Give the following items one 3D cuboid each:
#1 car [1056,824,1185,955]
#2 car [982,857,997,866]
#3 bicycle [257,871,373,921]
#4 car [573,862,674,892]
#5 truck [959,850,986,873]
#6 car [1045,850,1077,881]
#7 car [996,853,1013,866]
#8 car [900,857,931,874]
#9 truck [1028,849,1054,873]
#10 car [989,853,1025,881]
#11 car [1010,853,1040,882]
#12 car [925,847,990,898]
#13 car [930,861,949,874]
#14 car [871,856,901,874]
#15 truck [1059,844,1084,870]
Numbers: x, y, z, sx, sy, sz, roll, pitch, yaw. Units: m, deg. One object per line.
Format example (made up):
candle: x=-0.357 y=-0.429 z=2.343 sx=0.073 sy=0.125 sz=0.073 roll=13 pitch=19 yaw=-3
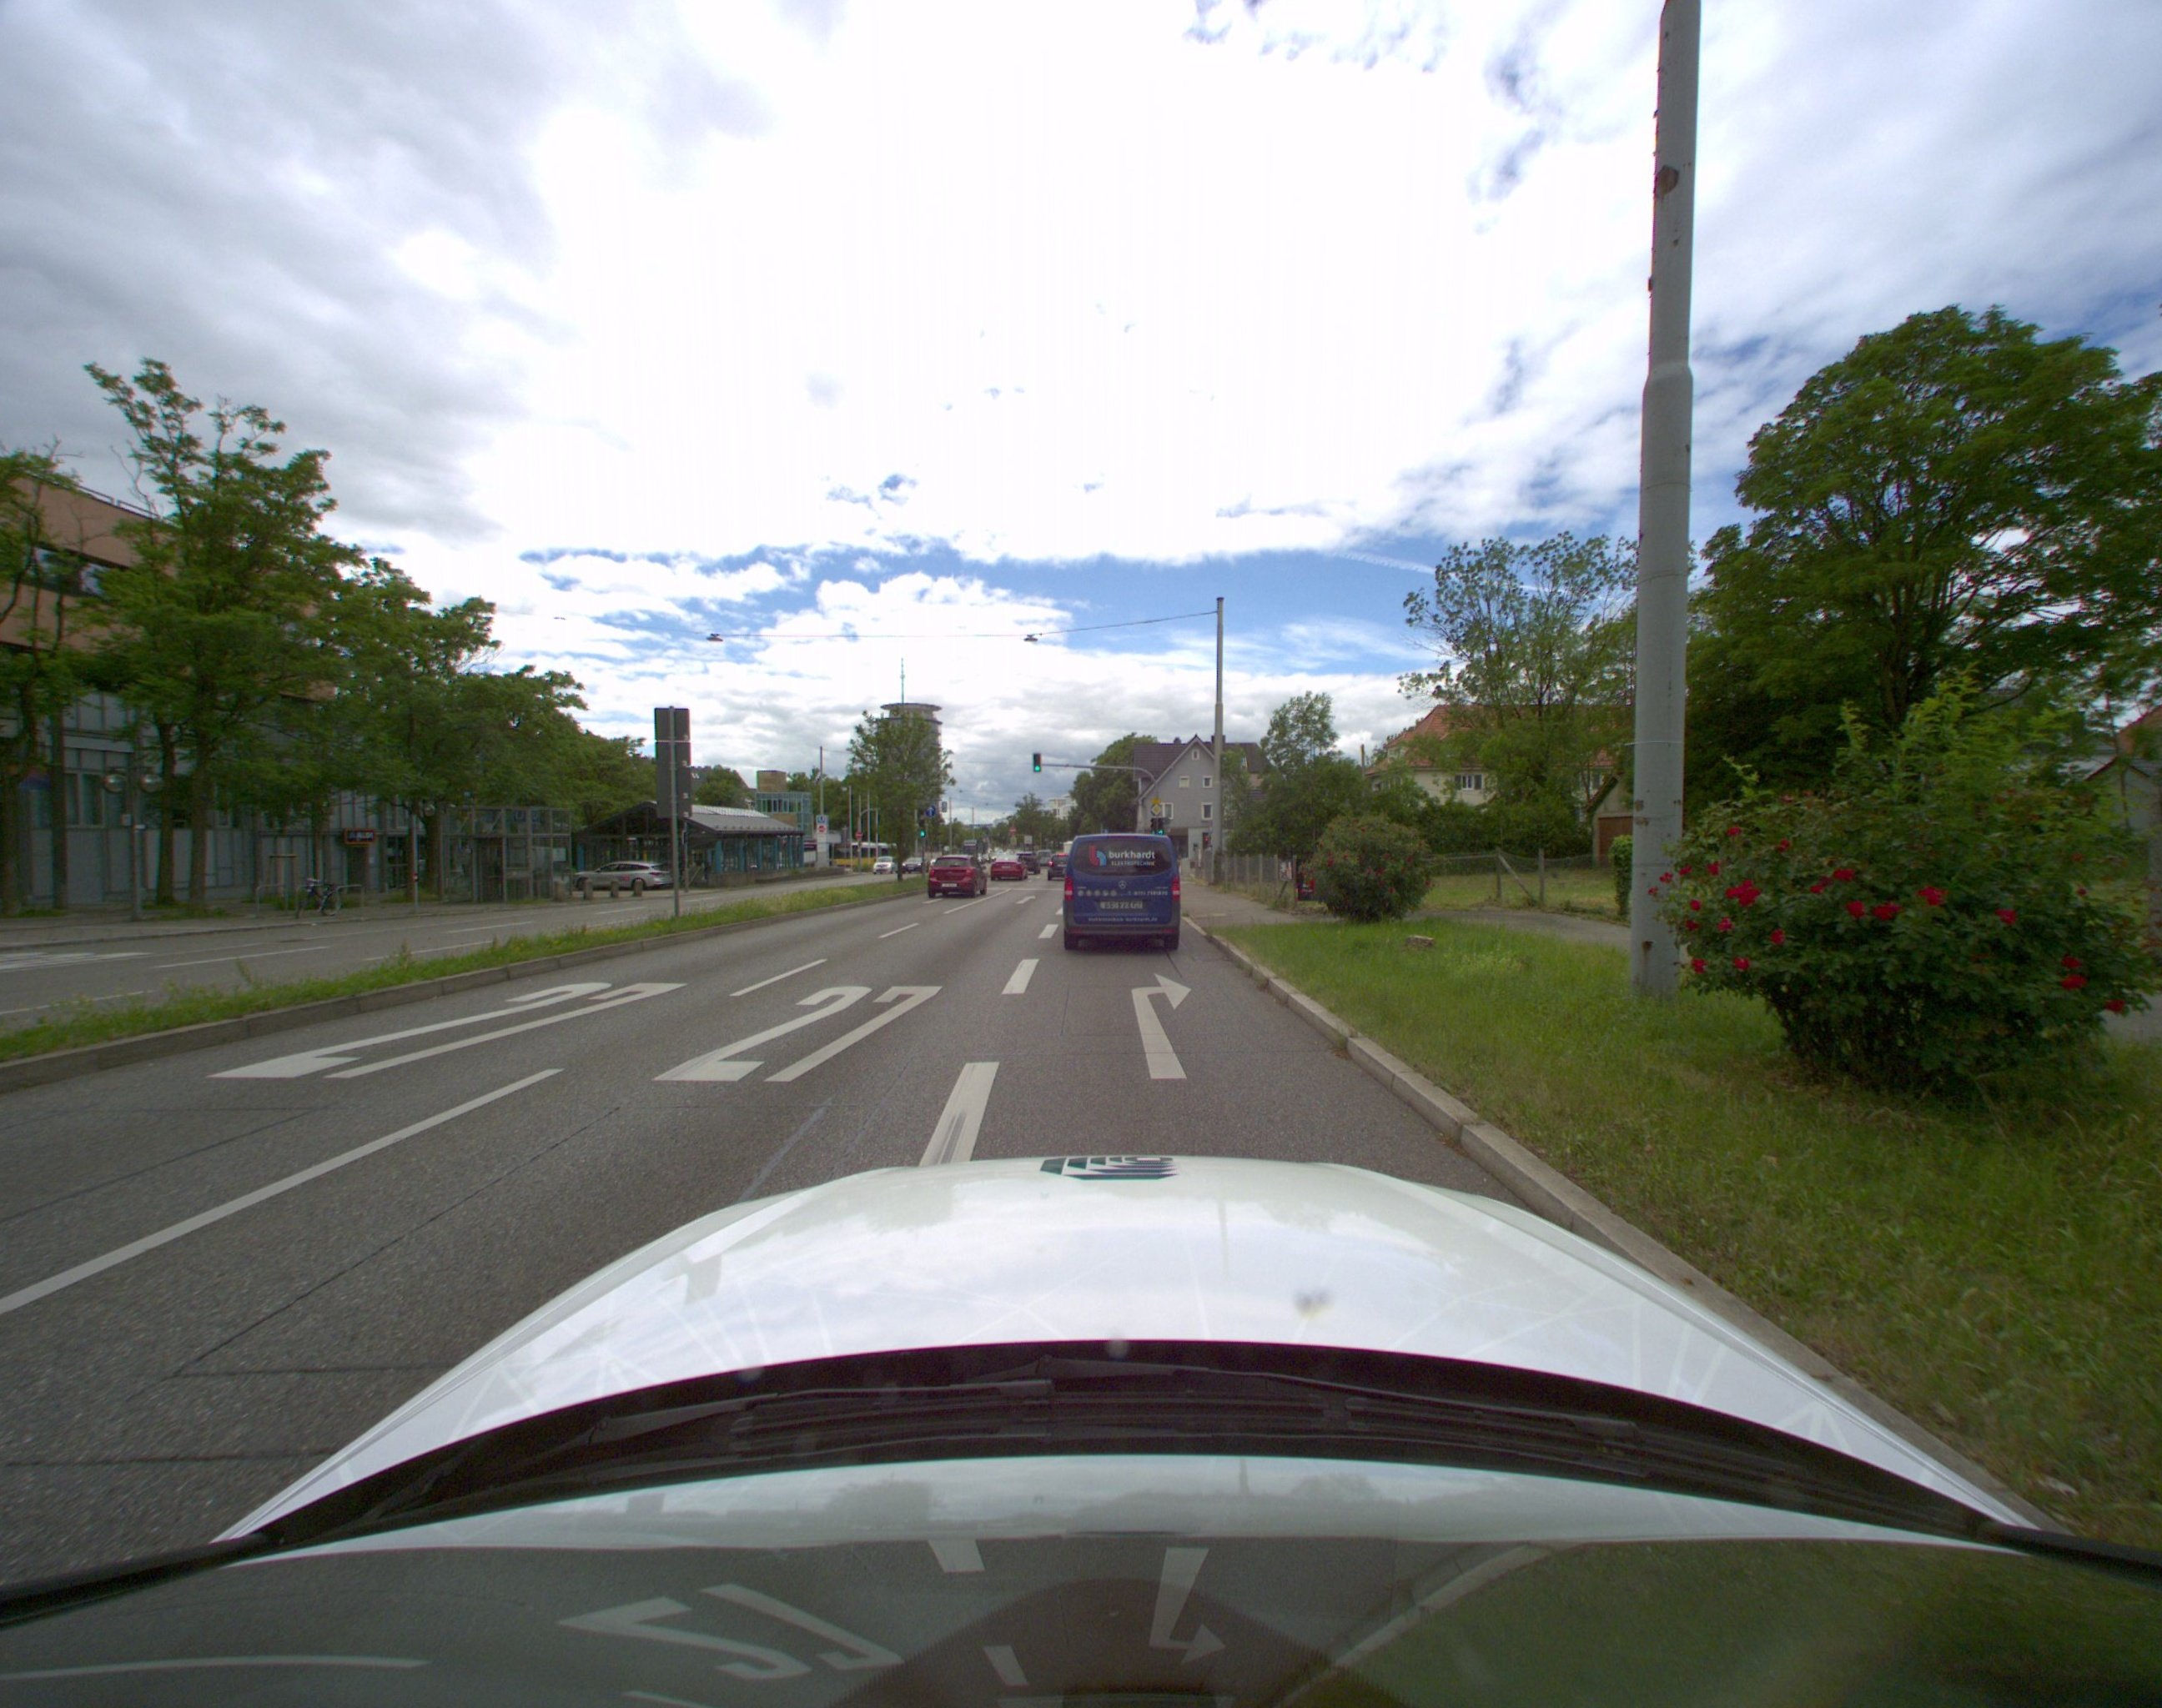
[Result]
car: x=0.681 y=0.538 z=14.567 sx=1.940 sy=1.965 sz=4.543 roll=0 pitch=0 yaw=2
car: x=-14.726 y=1.169 z=131.121 sx=1.791 sy=1.417 sz=4.000 roll=-1 pitch=0 yaw=0
bicycle: x=-21.702 y=1.156 z=23.171 sx=1.049 sy=1.271 sz=2.422 roll=1 pitch=0 yaw=-3
car: x=-22.900 y=1.121 z=40.925 sx=3.988 sy=1.354 sz=1.993 roll=-1 pitch=0 yaw=-11
truck: x=-18.653 y=1.239 z=140.397 sx=3.359 sy=3.727 sz=11.273 roll=0 pitch=0 yaw=-1
car: x=-1.170 y=0.623 z=47.663 sx=1.742 sy=1.723 sz=3.997 roll=-1 pitch=0 yaw=-2
car: x=-12.196 y=0.841 z=130.100 sx=1.984 sy=2.013 sz=4.186 roll=-1 pitch=0 yaw=6
car: x=-14.488 y=0.979 z=71.466 sx=1.809 sy=1.398 sz=5.006 roll=-2 pitch=0 yaw=-3
truck: x=-3.815 y=0.640 z=78.690 sx=1.986 sy=2.165 sz=5.561 roll=1 pitch=0 yaw=2
car: x=-4.298 y=0.737 z=46.653 sx=1.867 sy=1.486 sz=3.989 roll=-1 pitch=0 yaw=-8
car: x=-4.111 y=0.947 z=59.382 sx=1.992 sy=2.013 sz=3.990 roll=1 pitch=1 yaw=-7
car: x=-4.461 y=0.624 z=30.000 sx=1.741 sy=1.723 sz=4.000 roll=-1 pitch=0 yaw=0
car: x=-18.162 y=1.690 z=104.511 sx=1.727 sy=1.574 sz=4.504 roll=-1 pitch=0 yaw=-1
car: x=-17.410 y=0.939 z=72.894 sx=1.617 sy=1.574 sz=4.002 roll=-1 pitch=0 yaw=2
truck: x=-0.816 y=0.247 z=72.403 sx=1.986 sy=2.165 sz=5.561 roll=1 pitch=0 yaw=2
